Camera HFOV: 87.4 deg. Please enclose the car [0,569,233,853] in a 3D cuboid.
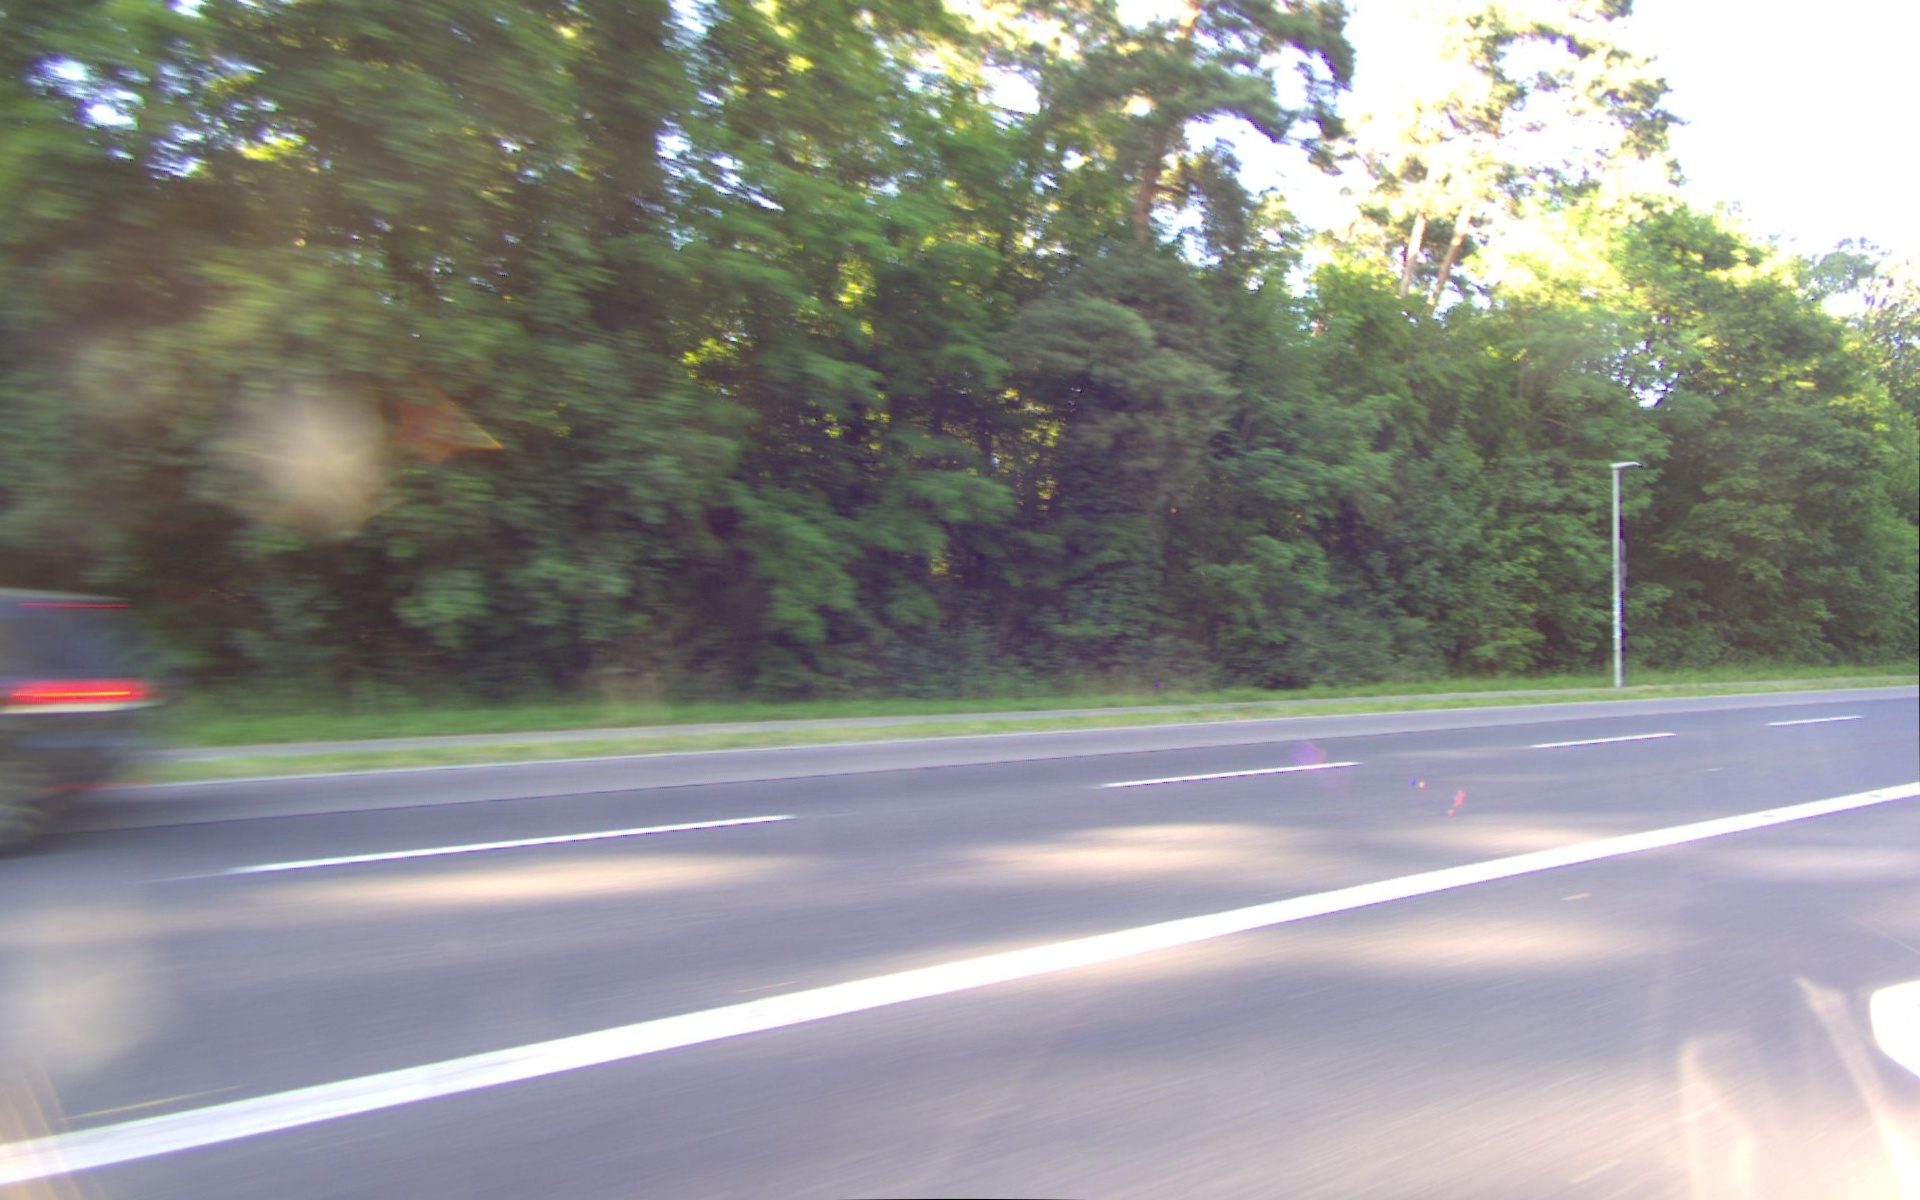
[{"bbox_3d":[-6.557,0.554,5.378,4.123,1.500,1.649,1,0,-30],"label":"car"}]
